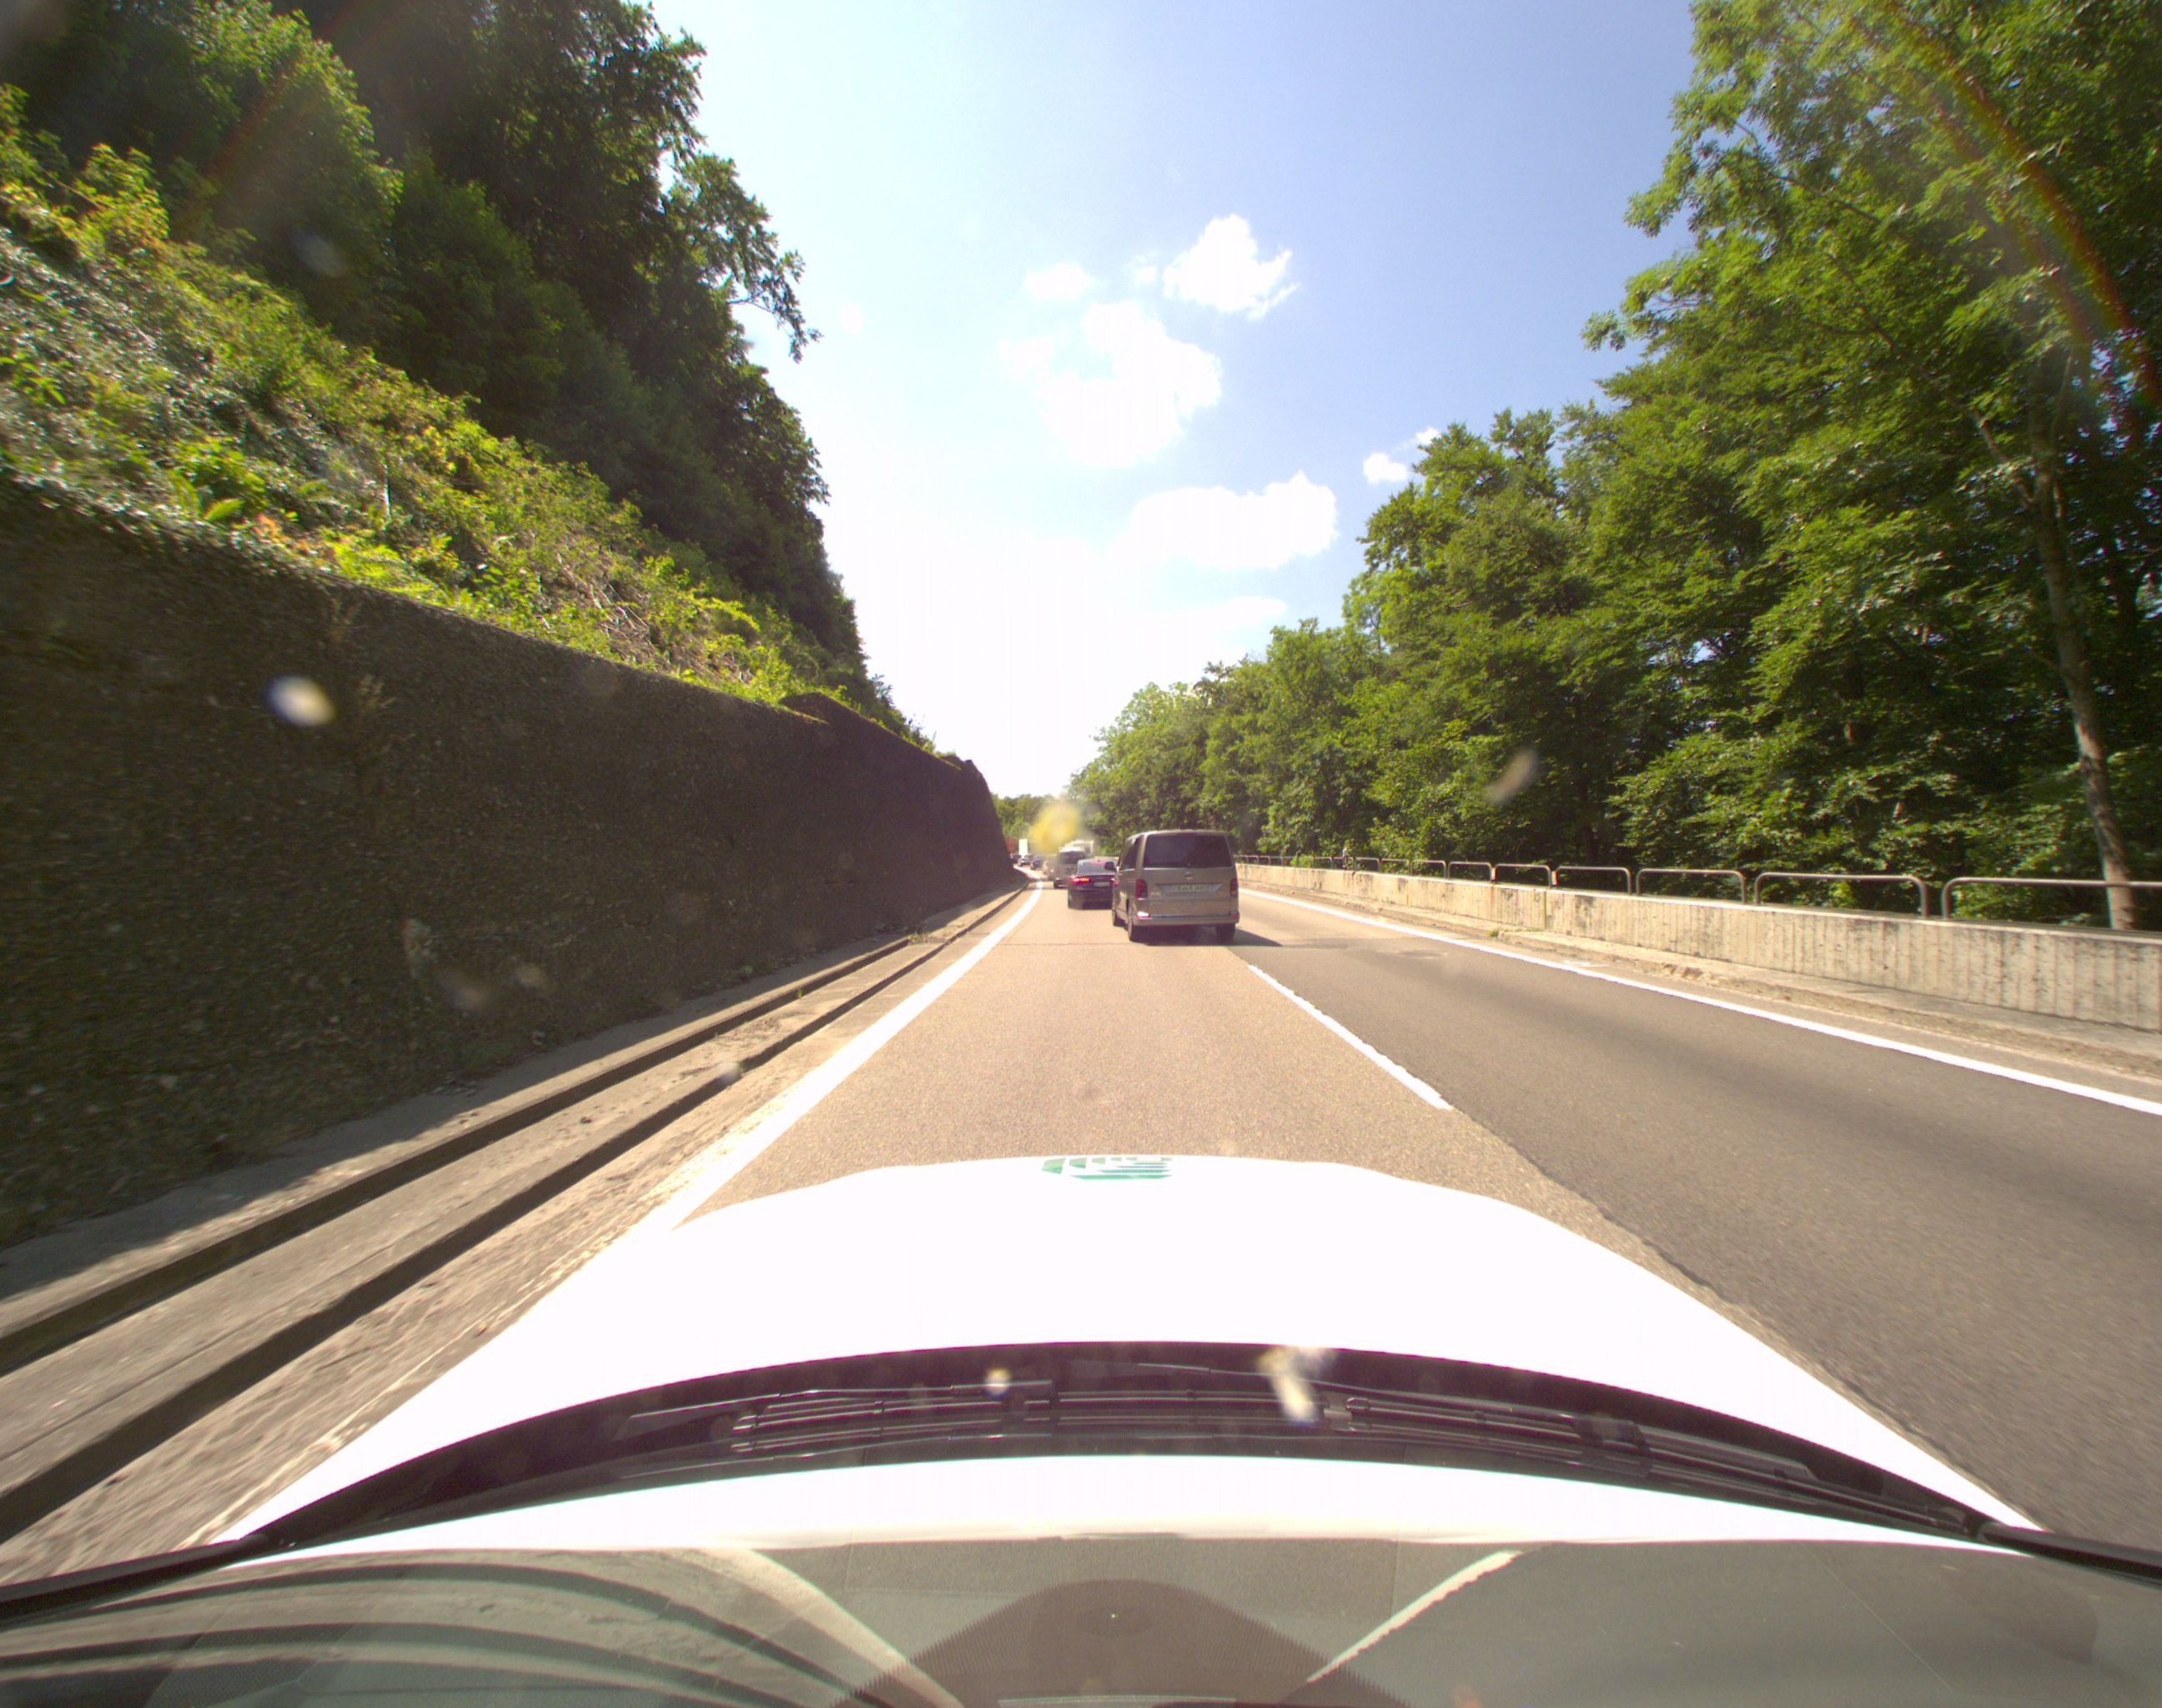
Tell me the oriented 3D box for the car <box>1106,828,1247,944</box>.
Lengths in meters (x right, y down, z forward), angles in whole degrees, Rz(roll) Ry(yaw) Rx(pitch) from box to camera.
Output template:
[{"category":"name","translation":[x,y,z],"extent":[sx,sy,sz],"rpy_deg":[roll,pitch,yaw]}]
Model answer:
[{"category":"car","translation":[1.679,0.532,15.959],"extent":[1.937,1.931,4.688],"rpy_deg":[0,0,-4]}]

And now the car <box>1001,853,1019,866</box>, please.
[{"category":"car","translation":[-9.092,0.730,104.228],"extent":[1.754,1.571,3.751],"rpy_deg":[0,0,-15]}]

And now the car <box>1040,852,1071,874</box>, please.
[{"category":"car","translation":[-1.967,0.668,62.370],"extent":[1.895,1.584,3.759],"rpy_deg":[-2,0,-9]}]

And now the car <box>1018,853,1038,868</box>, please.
[{"category":"car","translation":[-6.071,0.703,92.594],"extent":[1.992,1.618,3.990],"rpy_deg":[-1,0,-7]}]

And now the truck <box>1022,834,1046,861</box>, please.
[{"category":"truck","translation":[-7.014,-0.934,120.792],"extent":[2.923,3.687,7.704],"rpy_deg":[3,0,-7]}]

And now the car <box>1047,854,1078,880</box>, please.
[{"category":"car","translation":[-1.147,0.764,49.560],"extent":[1.767,1.472,3.997],"rpy_deg":[1,0,-2]}]

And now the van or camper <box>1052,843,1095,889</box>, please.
[{"category":"van or camper","translation":[-0.361,0.540,38.526],"extent":[1.848,1.942,4.163],"rpy_deg":[2,0,-1]}]

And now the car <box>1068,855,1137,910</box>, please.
[{"category":"car","translation":[0.611,0.792,24.782],"extent":[1.898,1.489,4.379],"rpy_deg":[0,0,0]}]

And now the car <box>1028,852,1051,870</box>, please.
[{"category":"car","translation":[-3.992,0.675,77.747],"extent":[1.857,1.619,3.987],"rpy_deg":[0,0,-9]}]

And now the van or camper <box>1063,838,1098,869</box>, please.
[{"category":"van or camper","translation":[-0.100,-0.052,82.919],"extent":[2.602,2.855,6.319],"rpy_deg":[-3,1,-7]}]

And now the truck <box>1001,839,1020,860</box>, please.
[{"category":"truck","translation":[-12.423,-0.838,143.110],"extent":[3.159,3.468,8.206],"rpy_deg":[3,0,-5]}]
